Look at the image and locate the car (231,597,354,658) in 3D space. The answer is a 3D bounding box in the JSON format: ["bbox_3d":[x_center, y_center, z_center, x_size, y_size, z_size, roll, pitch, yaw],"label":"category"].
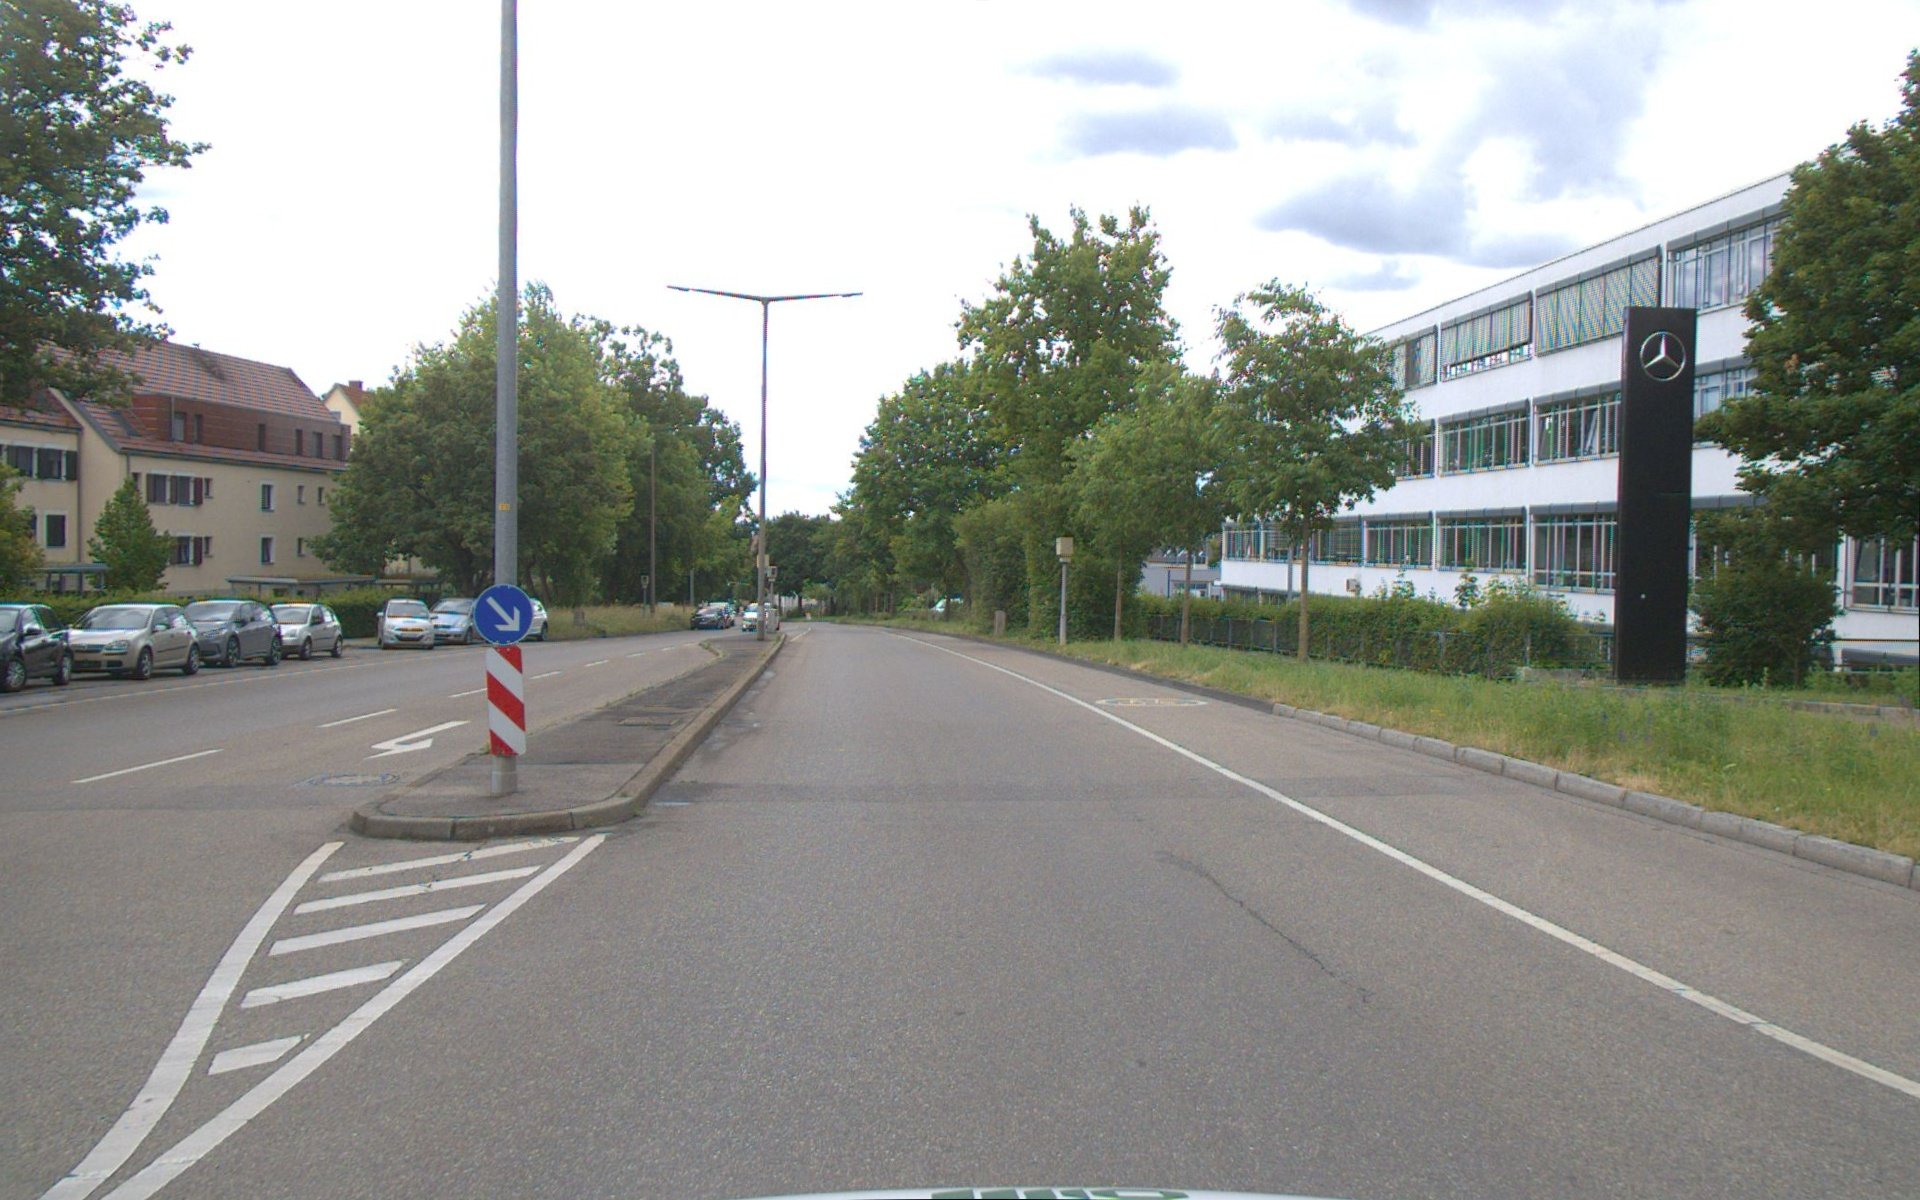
[{"bbox_3d":[-17.912,0.705,44.574,1.838,1.533,3.998,0,0,-3],"label":"car"}]

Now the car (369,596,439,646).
[{"bbox_3d":[-18.166,0.657,53.955,1.850,1.533,3.971,0,0,-23],"label":"car"}]

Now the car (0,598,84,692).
[{"bbox_3d":[-16.803,0.731,28.735,1.843,1.533,3.986,1,0,-14],"label":"car"}]

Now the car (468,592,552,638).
[{"bbox_3d":[-17.340,0.610,63.908,1.836,1.696,4.392,0,-1,3],"label":"car"}]

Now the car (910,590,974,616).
[{"bbox_3d":[-1.782,0.301,162.727,5.950,2.408,2.337,1,-1,-31],"label":"car"}]

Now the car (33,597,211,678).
[{"bbox_3d":[-16.901,0.720,33.584,1.839,1.533,4.052,1,0,-6],"label":"car"}]

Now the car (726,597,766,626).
[{"bbox_3d":[-12.044,0.686,93.280,1.838,1.598,4.336,1,-1,-3],"label":"car"}]

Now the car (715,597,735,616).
[{"bbox_3d":[-20.254,0.578,142.647,1.642,1.592,4.273,-1,0,-8],"label":"car"}]

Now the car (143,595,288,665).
[{"bbox_3d":[-17.568,0.675,39.226,1.838,1.533,3.997,1,1,-4],"label":"car"}]

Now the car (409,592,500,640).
[{"bbox_3d":[-17.928,0.594,58.843,1.836,1.625,4.001,0,-1,3],"label":"car"}]

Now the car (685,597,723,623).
[{"bbox_3d":[-15.953,0.638,103.212,1.838,1.598,4.647,0,0,-3],"label":"car"}]
